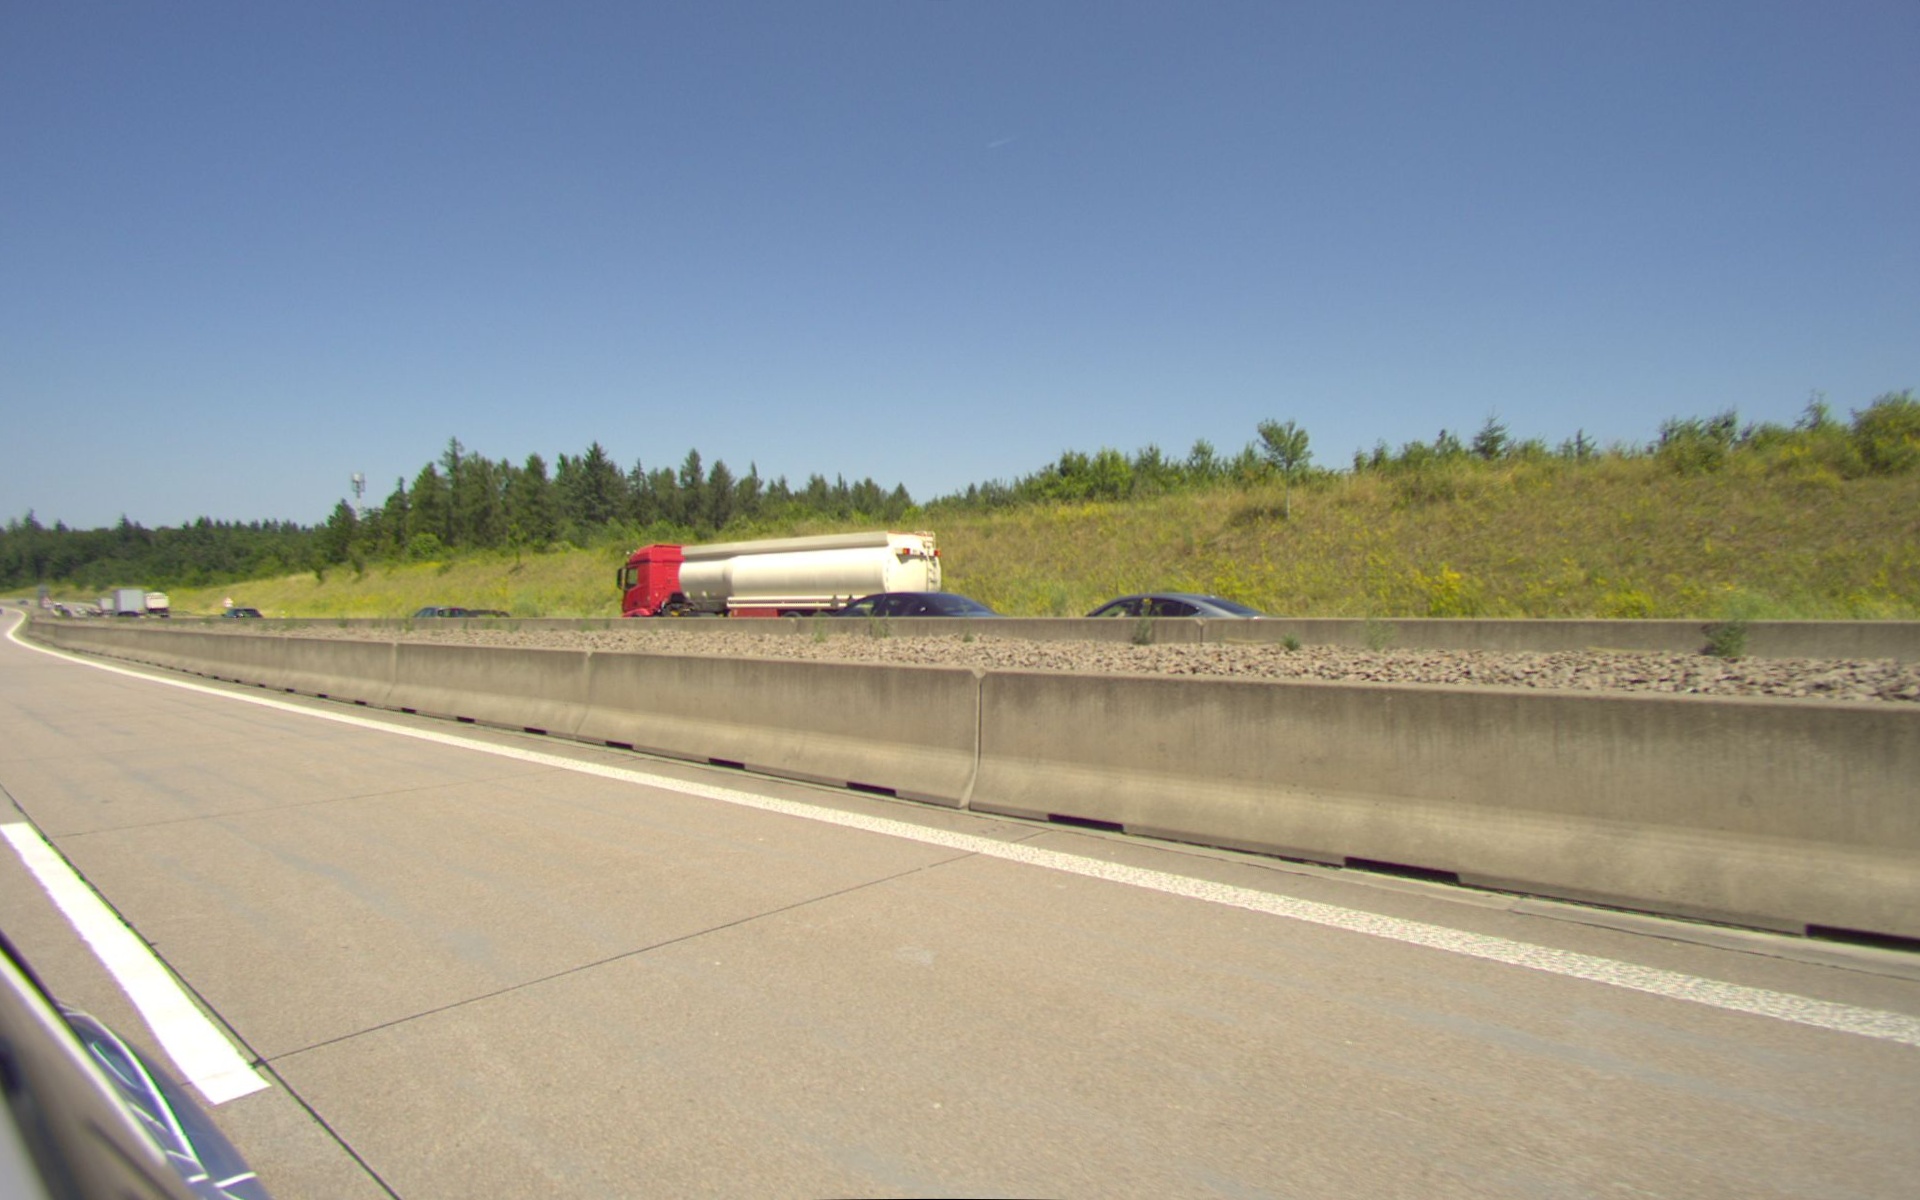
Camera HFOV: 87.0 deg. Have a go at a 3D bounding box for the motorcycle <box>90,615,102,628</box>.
[{"bbox_3d":[-95.907,2.353,112.319,0.815,1.382,2.359,-1,0,-44],"label":"motorcycle"}]

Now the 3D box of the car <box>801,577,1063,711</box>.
[{"bbox_3d":[-0.543,0.665,16.572,4.036,1.918,1.973,-1,-1,41],"label":"car"}]

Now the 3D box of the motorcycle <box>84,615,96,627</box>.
[{"bbox_3d":[-113.258,2.691,131.719,0.996,1.561,2.485,-1,0,-44],"label":"motorcycle"}]

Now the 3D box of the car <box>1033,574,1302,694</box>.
[{"bbox_3d":[3.412,0.536,17.051,3.998,1.785,1.973,-1,-1,41],"label":"car"}]

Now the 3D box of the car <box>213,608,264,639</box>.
[{"bbox_3d":[-44.885,1.459,62.916,3.999,1.810,1.800,-1,0,42],"label":"car"}]

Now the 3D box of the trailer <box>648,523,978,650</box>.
[{"bbox_3d":[-4.952,-0.355,30.954,11.825,3.238,2.903,-1,2,41],"label":"trailer"}]

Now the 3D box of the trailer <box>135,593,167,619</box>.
[{"bbox_3d":[-114.528,0.890,143.207,2.693,3.438,8.964,-3,2,-43],"label":"trailer"}]

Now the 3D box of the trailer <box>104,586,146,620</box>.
[{"bbox_3d":[-106.414,0.360,128.850,3.124,3.961,13.881,-3,2,-43],"label":"trailer"}]

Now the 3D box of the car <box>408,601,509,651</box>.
[{"bbox_3d":[-18.405,0.938,37.084,3.999,1.730,1.972,-1,-1,42],"label":"car"}]

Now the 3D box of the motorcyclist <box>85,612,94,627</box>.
[{"bbox_3d":[-113.208,2.515,131.632,0.809,1.888,1.493,-1,0,-44],"label":"motorcyclist"}]

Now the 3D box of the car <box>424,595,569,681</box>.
[{"bbox_3d":[-12.322,0.945,26.800,3.998,2.028,1.973,-1,2,41],"label":"car"}]

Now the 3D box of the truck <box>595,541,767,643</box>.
[{"bbox_3d":[-9.764,-0.297,35.148,5.902,3.238,2.903,-1,2,41],"label":"truck"}]
